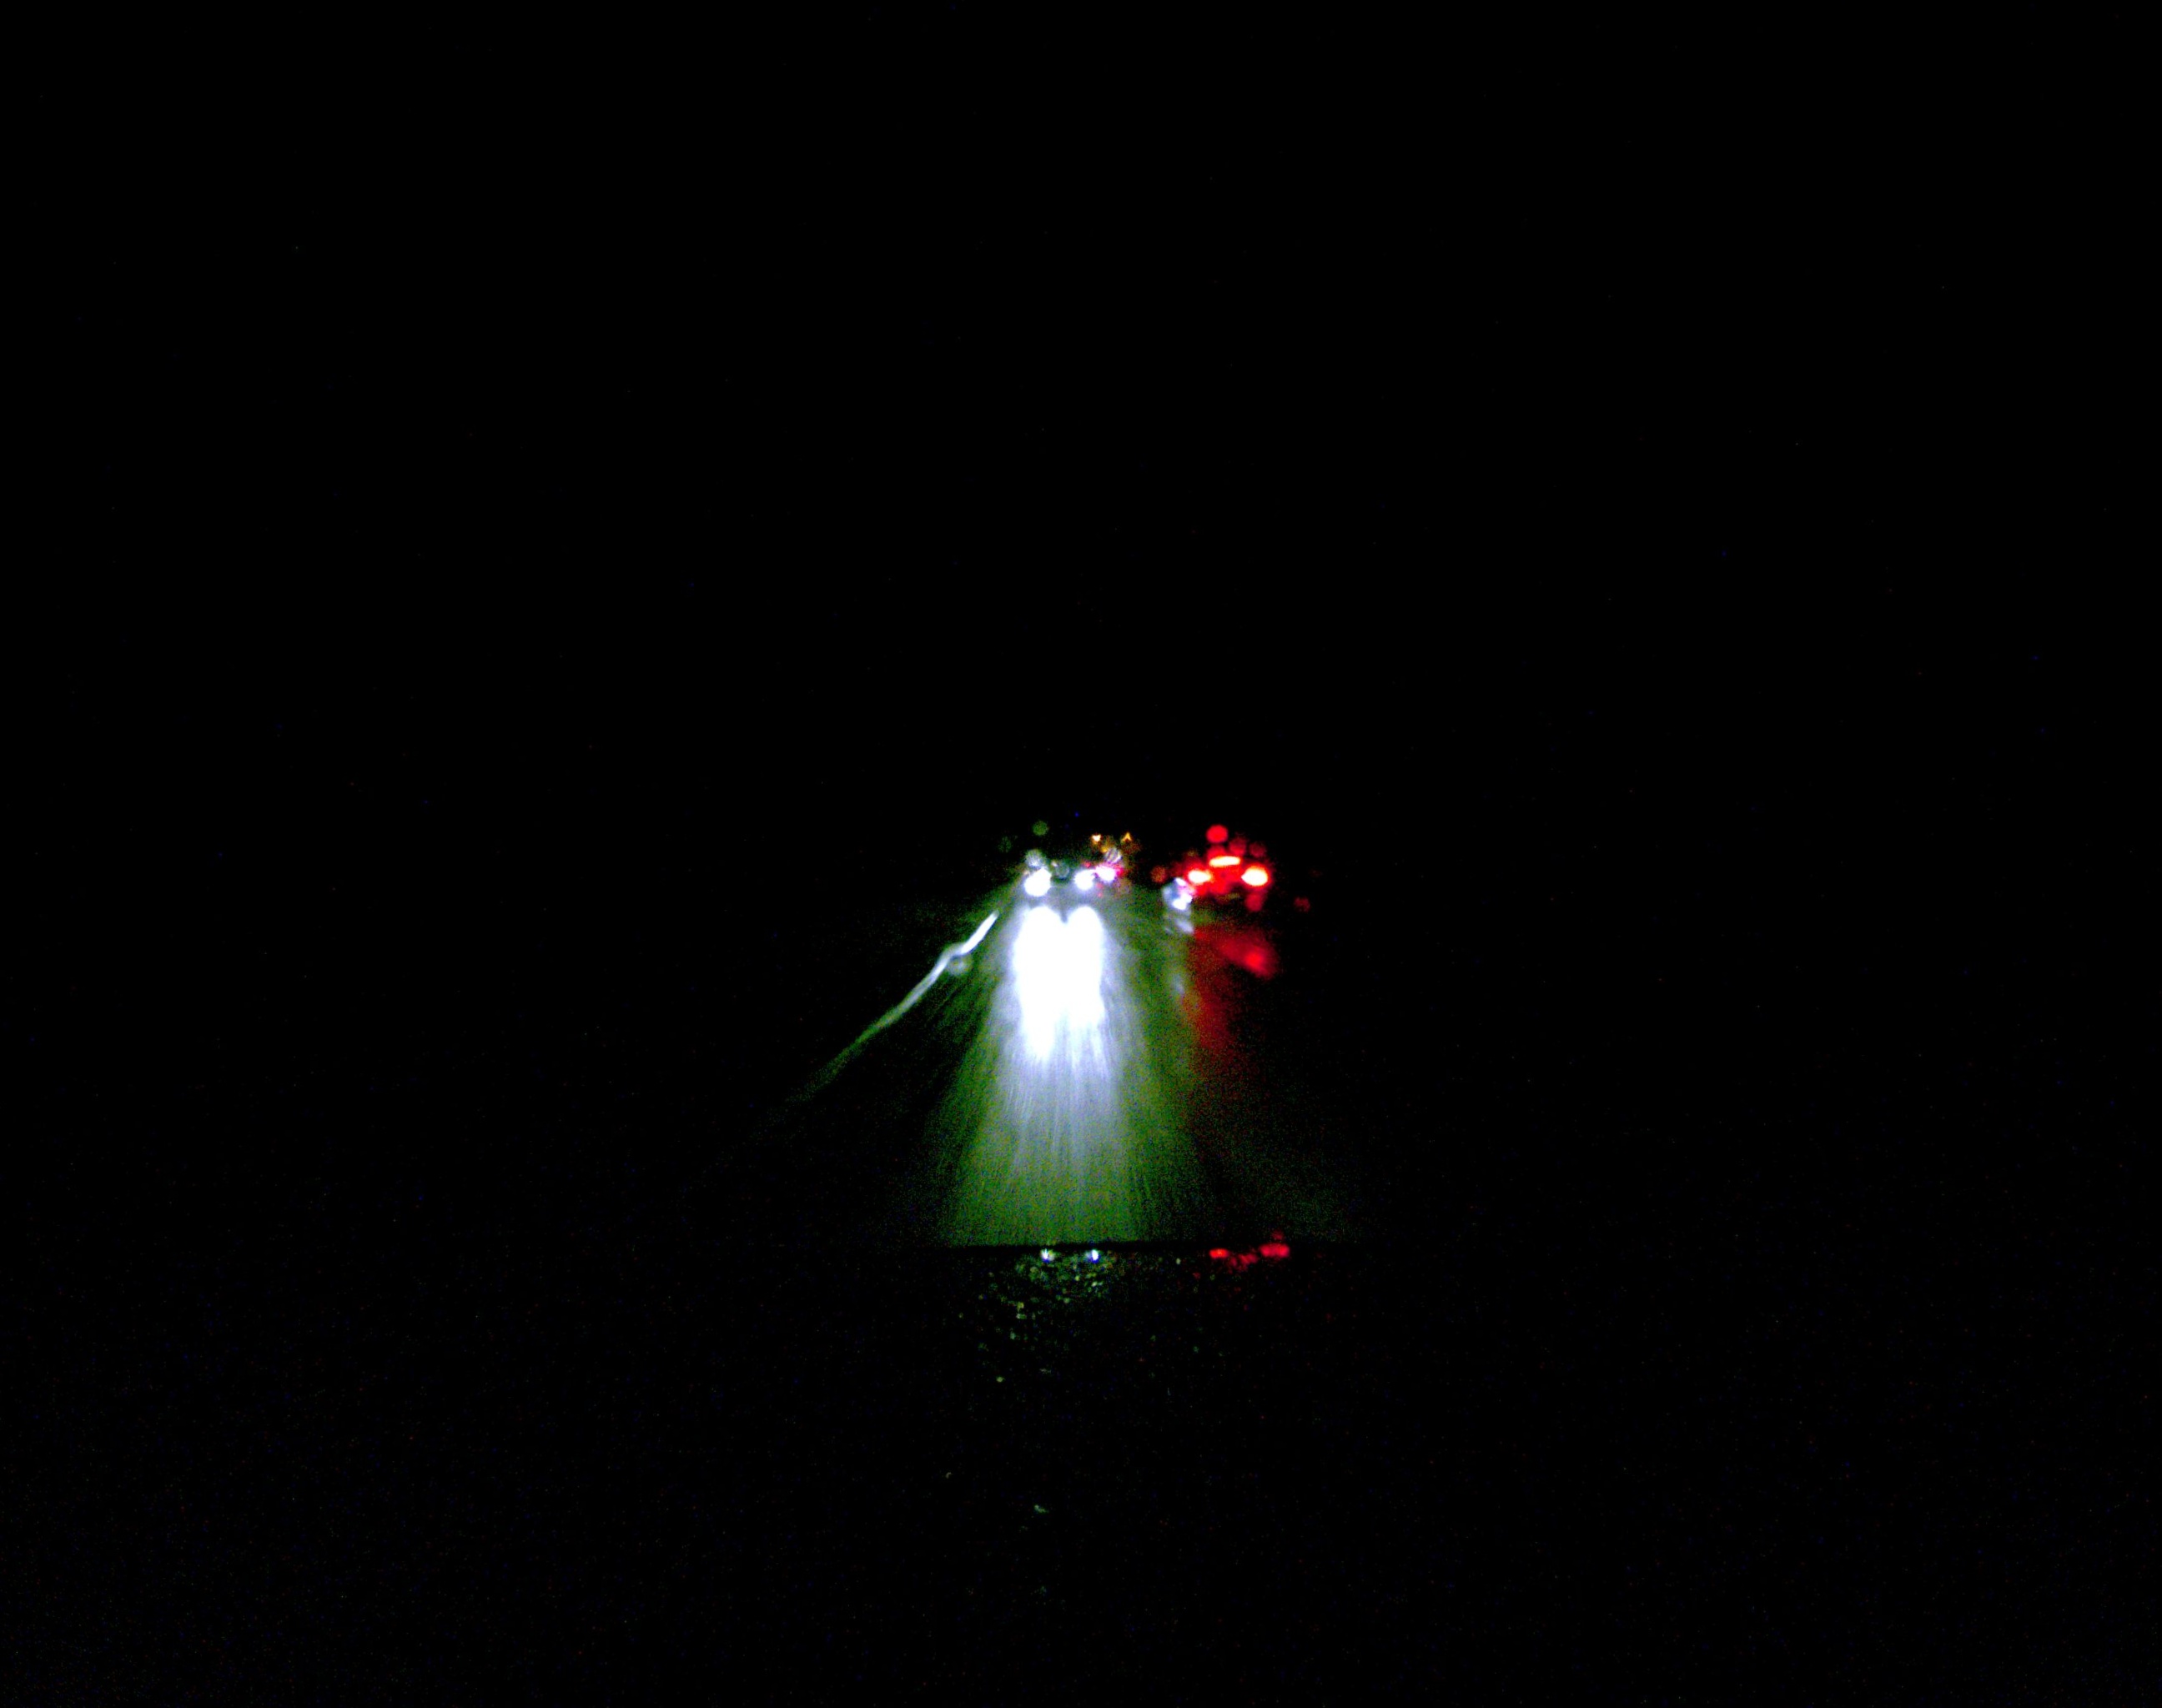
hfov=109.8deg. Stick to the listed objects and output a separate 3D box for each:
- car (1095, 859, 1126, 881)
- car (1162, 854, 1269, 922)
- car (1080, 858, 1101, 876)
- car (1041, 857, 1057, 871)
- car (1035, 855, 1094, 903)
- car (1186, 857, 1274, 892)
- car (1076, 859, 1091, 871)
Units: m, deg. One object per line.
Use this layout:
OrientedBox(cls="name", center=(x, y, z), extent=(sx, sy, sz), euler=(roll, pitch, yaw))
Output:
OrientedBox(cls="car", center=(1.918, 1.051, 51.361), extent=(1.760, 1.397, 4.487), euler=(-1, -1, -2))
OrientedBox(cls="car", center=(3.318, 0.801, 19.551), extent=(1.770, 1.533, 4.147), euler=(0, -1, -4))
OrientedBox(cls="car", center=(0.829, 1.171, 68.100), extent=(1.667, 1.551, 3.560), euler=(2, -1, -3))
OrientedBox(cls="car", center=(-3.808, 1.188, 91.663), extent=(1.901, 1.552, 3.999), euler=(2, 0, -2))
OrientedBox(cls="car", center=(-0.616, 0.830, 27.196), extent=(1.901, 1.552, 3.999), euler=(2, 0, -2))
OrientedBox(cls="car", center=(9.096, 1.245, 46.617), extent=(4.947, 1.827, 1.934), euler=(3, 0, -1))
OrientedBox(cls="car", center=(0.311, 1.360, 96.552), extent=(1.603, 1.416, 3.551), euler=(2, 0, -3))
